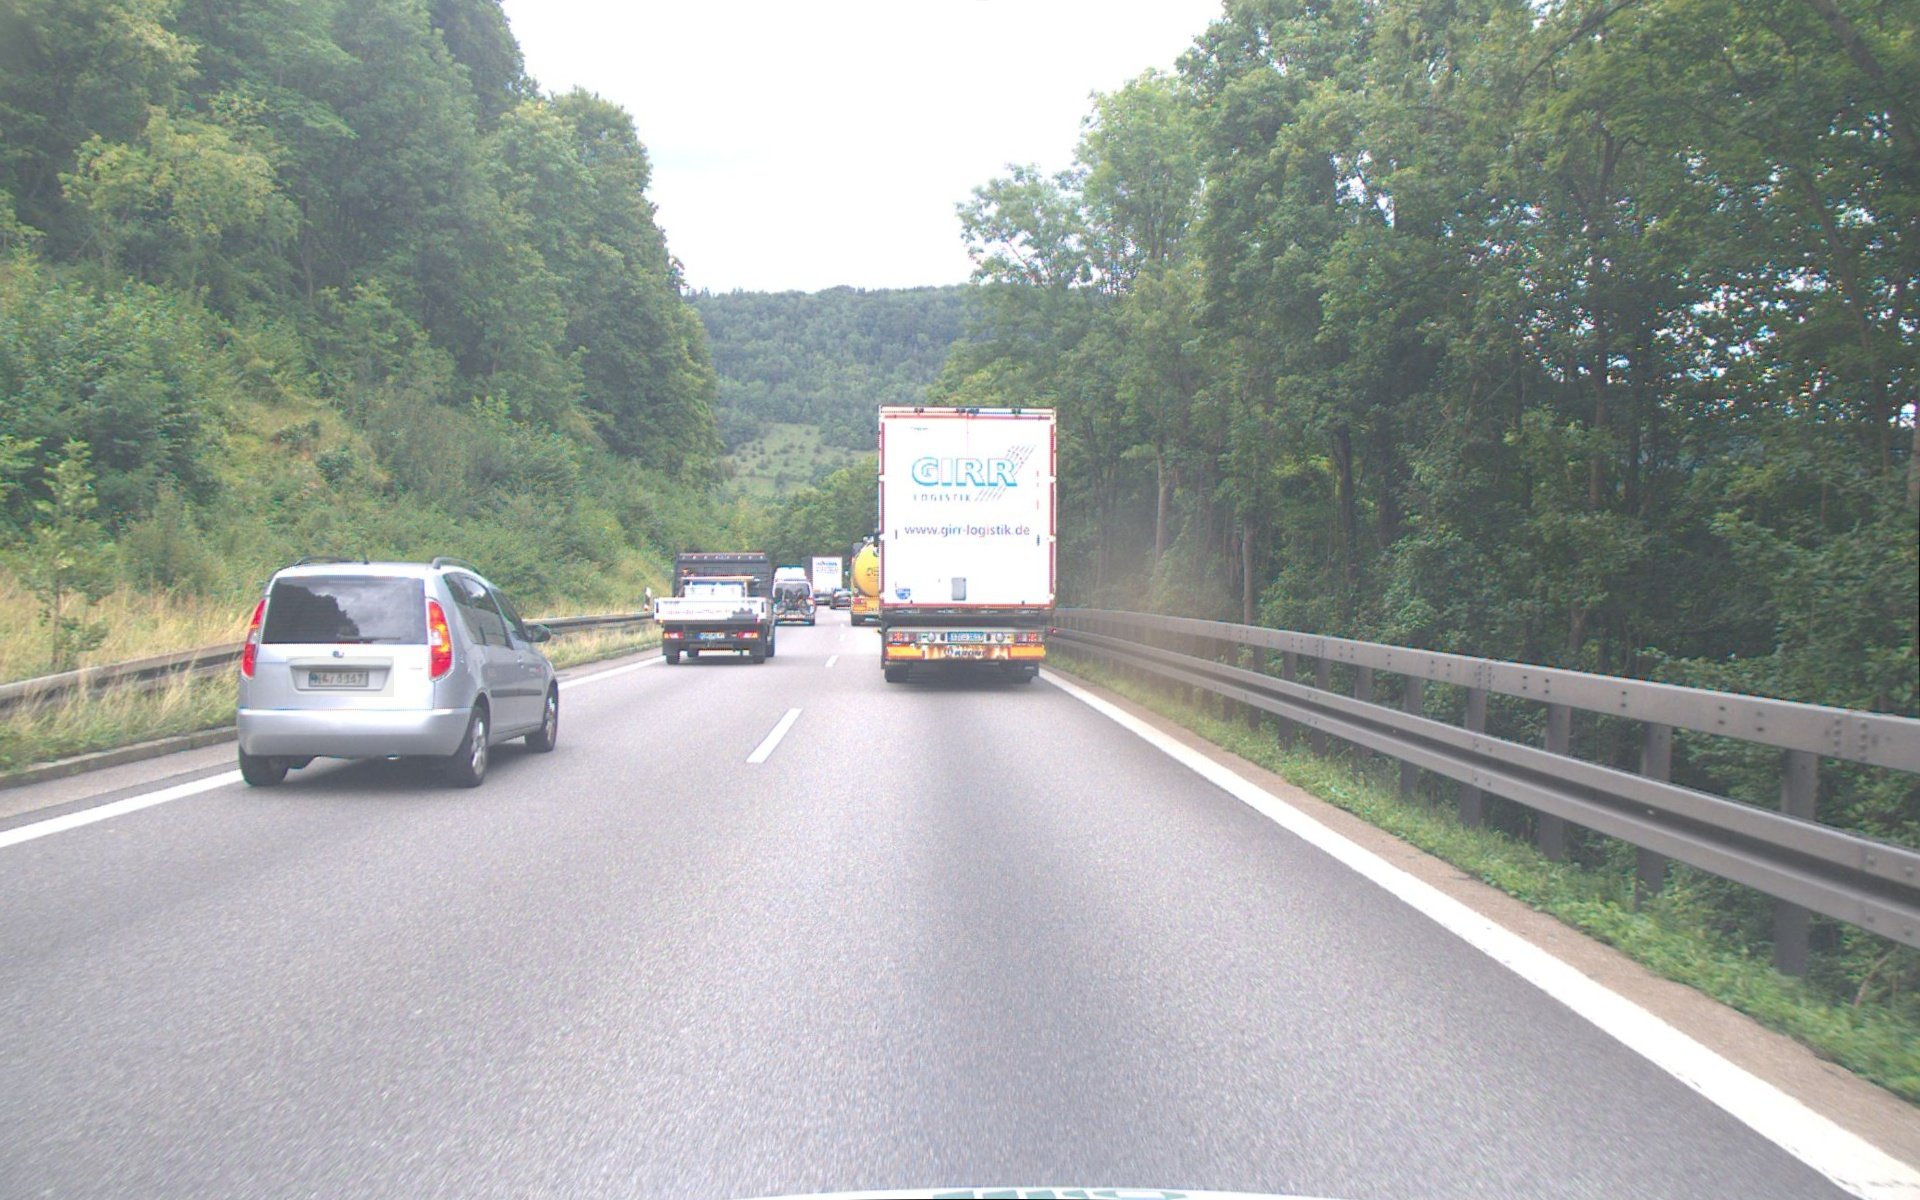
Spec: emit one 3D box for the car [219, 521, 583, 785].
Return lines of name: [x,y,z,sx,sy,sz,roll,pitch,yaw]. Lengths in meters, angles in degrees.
car: [-4.279,0.369,13.385,1.601,1.757,4.342,1,0,-3]

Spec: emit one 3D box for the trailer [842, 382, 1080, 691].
trailer: [-0.109,-0.881,27.732,3.070,4.113,9.436,4,0,-2]

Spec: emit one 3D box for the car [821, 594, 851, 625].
car: [-8.726,0.652,116.262,1.955,2.049,3.994,2,-1,-6]

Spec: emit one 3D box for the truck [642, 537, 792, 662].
truck: [-5.009,-0.001,35.166,2.302,2.313,6.846,2,0,-2]

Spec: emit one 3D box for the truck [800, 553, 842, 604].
truck: [-11.720,-1.745,138.803,3.011,3.945,8.444,2,-1,-7]

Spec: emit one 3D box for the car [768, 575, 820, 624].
car: [-7.027,-0.022,70.421,1.979,1.947,5.558,2,0,-5]

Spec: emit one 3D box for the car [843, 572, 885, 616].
car: [-4.756,-0.286,82.187,1.954,2.049,4.330,2,-1,-3]

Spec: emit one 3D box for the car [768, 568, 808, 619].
car: [-9.405,-0.348,90.219,2.083,2.644,5.555,1,0,-6]

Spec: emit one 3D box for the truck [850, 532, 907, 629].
truck: [-3.454,-0.771,70.879,2.189,3.870,6.819,2,-1,-2]
